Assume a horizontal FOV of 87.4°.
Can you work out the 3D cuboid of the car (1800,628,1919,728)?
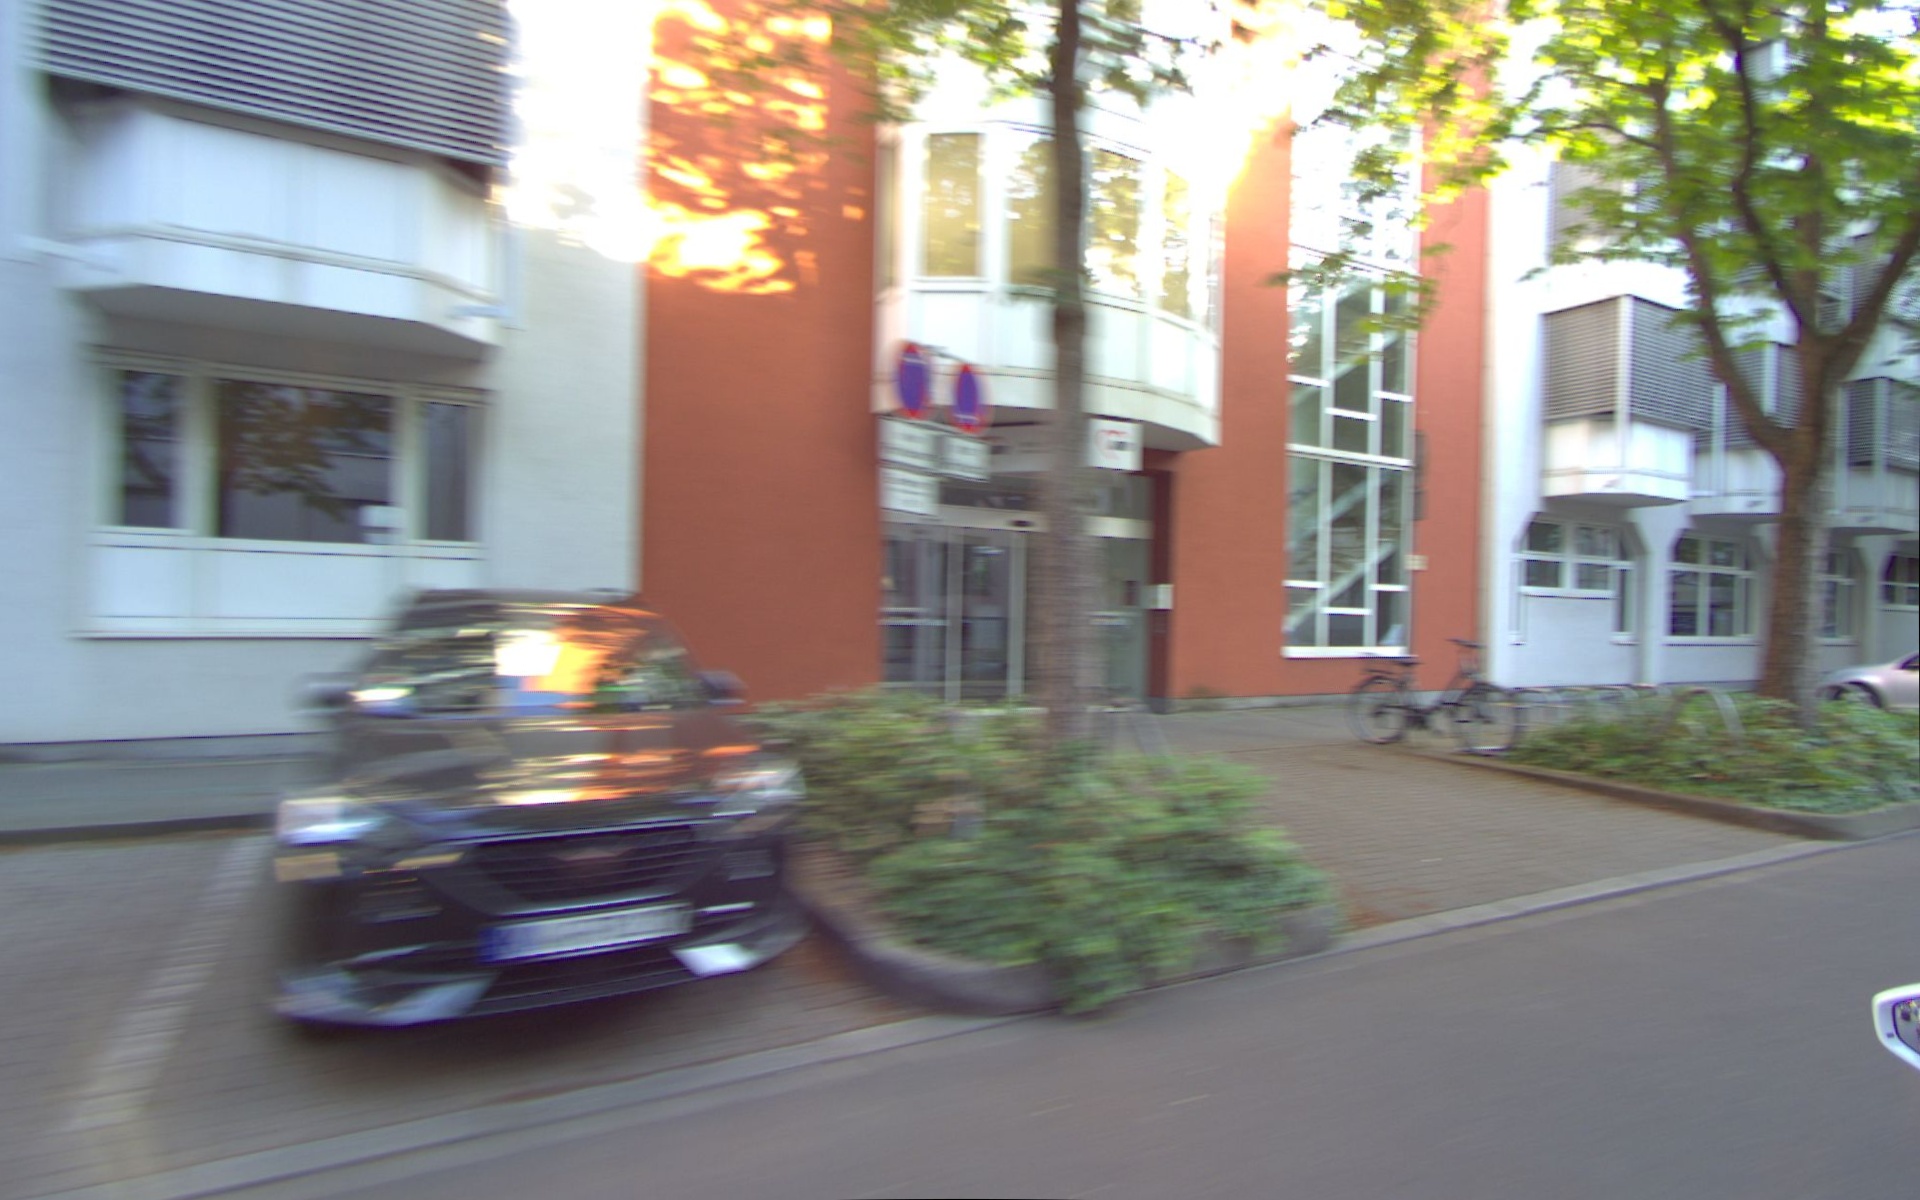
[{"bbox_3d":[15.781,1.237,15.321,1.928,1.488,4.152,1,0,-27],"label":"car"}]

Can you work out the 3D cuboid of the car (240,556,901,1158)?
[{"bbox_3d":[-2.083,0.661,5.009,1.849,1.546,4.490,1,0,-28],"label":"car"}]

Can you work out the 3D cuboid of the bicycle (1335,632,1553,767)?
[{"bbox_3d":[4.897,0.952,10.305,0.649,1.192,1.946,1,0,-34],"label":"bicycle"}]
